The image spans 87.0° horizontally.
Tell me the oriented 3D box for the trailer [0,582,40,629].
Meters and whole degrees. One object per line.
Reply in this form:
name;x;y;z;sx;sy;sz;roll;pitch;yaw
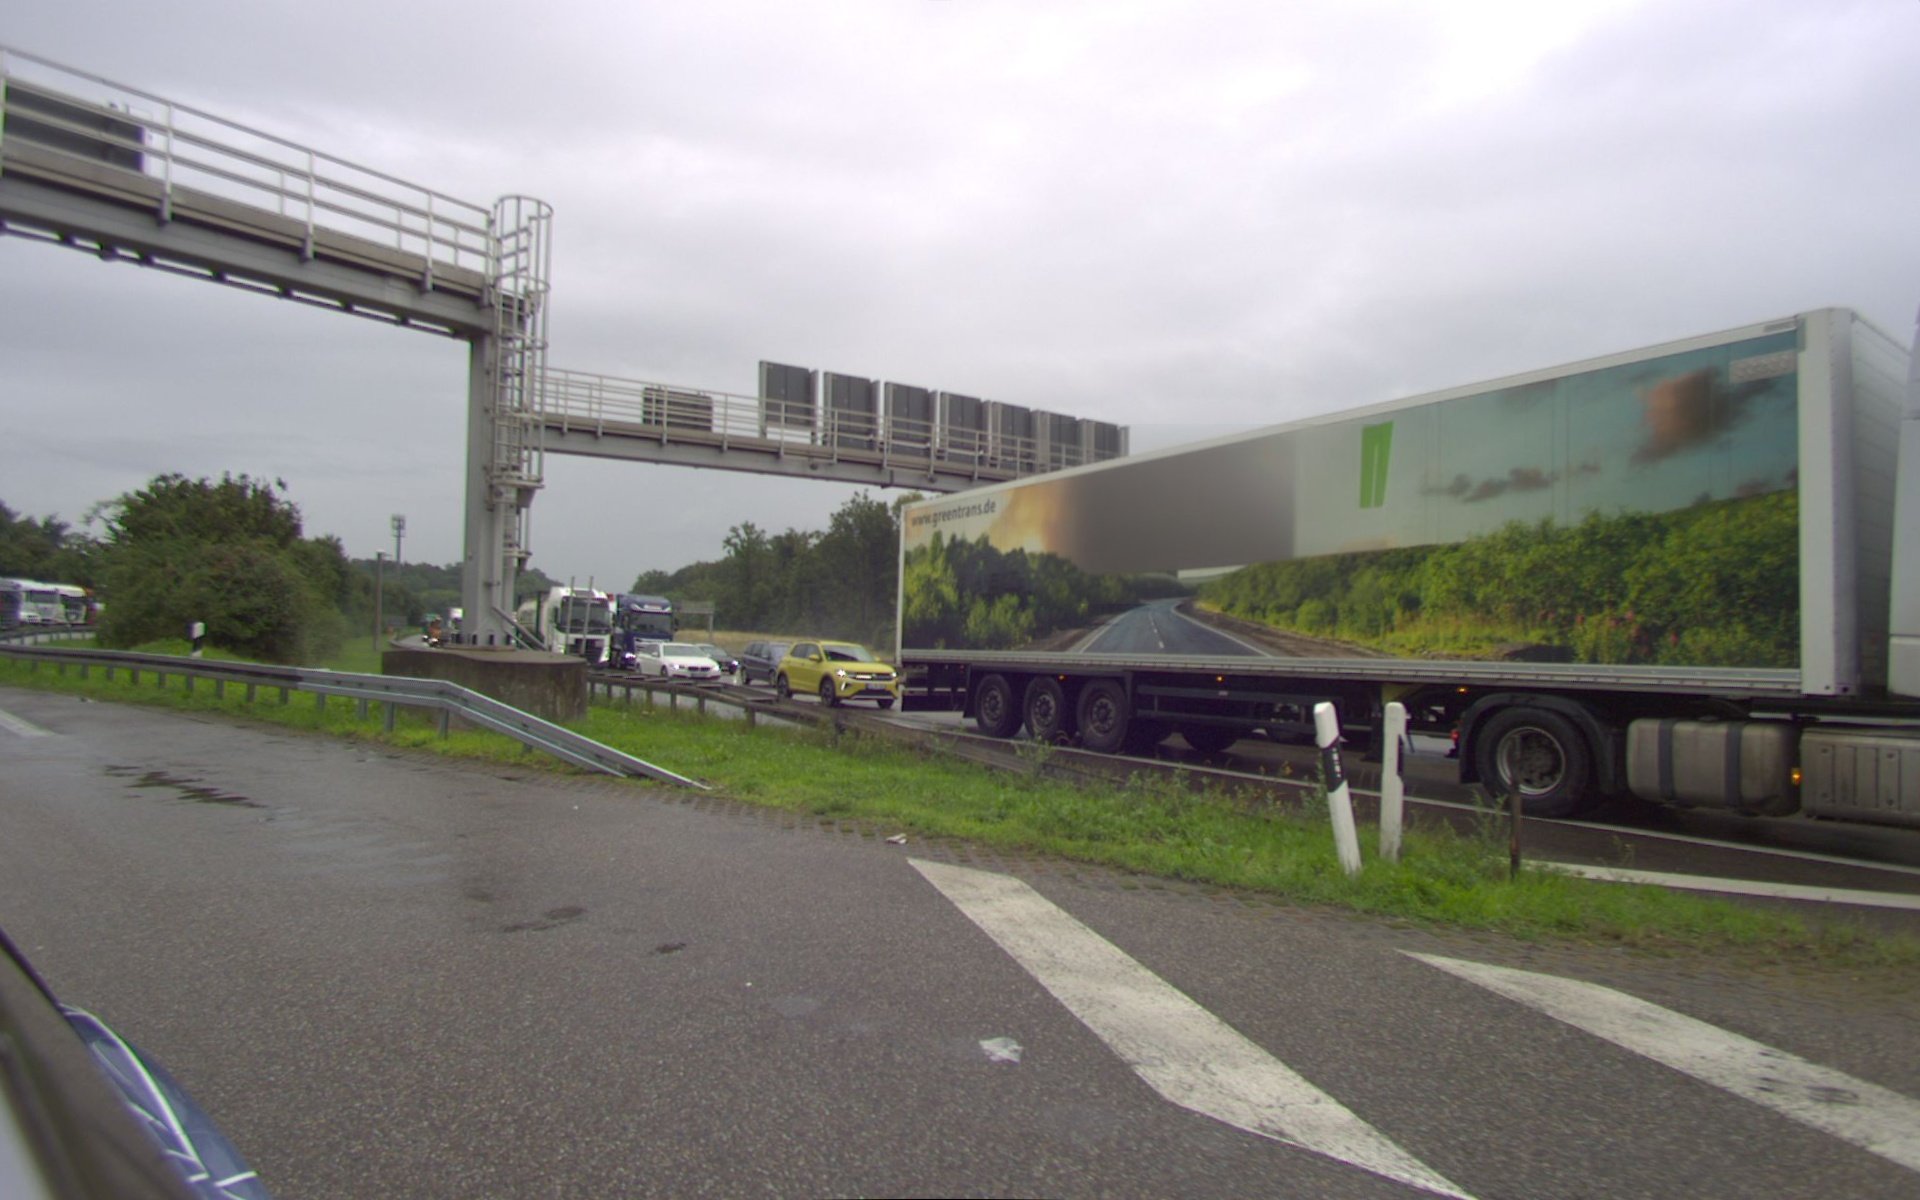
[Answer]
trailer;-92.468;0.351;93.613;13.385;4.122;3.236;2;-3;10

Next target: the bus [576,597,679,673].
bus;-18.579;1.812;56.056;2.855;3.796;10.459;-1;0;-33

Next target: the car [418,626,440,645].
car;-63.382;4.234;120.756;1.966;2.179;4.456;2;-3;-32

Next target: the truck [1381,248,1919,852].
truck;7.343;-0.276;8.282;2.879;4.130;6.736;3;-3;-34

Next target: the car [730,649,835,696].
car;-6.543;2.605;36.921;1.901;1.534;4.774;3;-4;-34

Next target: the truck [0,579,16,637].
truck;-68.730;0.451;69.447;4.967;3.949;3.236;2;-3;10

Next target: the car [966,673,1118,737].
car;2.269;2.959;29.269;1.966;1.542;4.551;3;-3;-33

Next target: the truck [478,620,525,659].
truck;-46.754;3.933;103.034;2.992;3.704;9.462;-1;0;-33

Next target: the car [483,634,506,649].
car;-53.529;4.780;116.329;1.792;1.675;3.998;3;-3;-33

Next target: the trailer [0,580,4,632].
trailer;-77.837;0.230;74.635;13.783;3.949;2.867;2;-3;10

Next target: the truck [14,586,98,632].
truck;-90.073;0.906;100.862;5.749;4.420;3.236;1;-2;10

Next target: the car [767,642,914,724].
car;-3.035;1.967;24.939;1.770;1.807;4.250;3;-3;-35

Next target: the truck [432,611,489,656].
truck;-46.072;2.996;93.196;3.480;3.877;9.461;-1;0;-34

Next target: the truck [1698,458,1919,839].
truck;11.080;0.538;10.760;2.592;3.894;4.600;4;-4;-35

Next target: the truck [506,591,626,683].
truck;-20.283;1.680;51.412;3.301;4.101;12.608;-1;0;-32

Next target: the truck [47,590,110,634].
truck;-92.313;1.261;106.003;4.578;4.420;2.598;1;-2;10

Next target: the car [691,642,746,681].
car;-12.781;3.215;53.416;1.597;1.794;4.011;-1;0;-32

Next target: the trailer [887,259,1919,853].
trailer;3.698;-0.108;13.694;2.879;4.237;13.671;3;-3;-34

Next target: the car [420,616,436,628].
car;-78.701;3.265;149.669;1.789;1.770;4.699;1;-2;-33

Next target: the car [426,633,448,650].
car;-58.637;4.622;113.390;1.789;1.770;4.699;1;-2;-31

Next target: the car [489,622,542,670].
car;-27.762;2.787;63.089;2.329;2.663;6.918;-1;0;-29

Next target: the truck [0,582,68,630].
truck;-86.595;0.503;92.542;7.851;4.122;3.236;2;-3;10

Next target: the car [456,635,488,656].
car;-39.339;3.643;81.480;1.789;1.697;4.011;1;-2;-33

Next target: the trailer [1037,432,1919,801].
trailer;6.707;0.441;17.021;2.592;3.894;13.709;4;-4;-35

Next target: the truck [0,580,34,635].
truck;-71.578;0.466;73.509;6.484;3.949;2.890;2;-3;10

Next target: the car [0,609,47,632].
car;-82.433;1.785;88.530;3.959;1.872;1.841;1;-2;12

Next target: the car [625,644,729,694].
car;-9.711;2.301;34.467;1.901;1.534;4.774;3;-4;-34
